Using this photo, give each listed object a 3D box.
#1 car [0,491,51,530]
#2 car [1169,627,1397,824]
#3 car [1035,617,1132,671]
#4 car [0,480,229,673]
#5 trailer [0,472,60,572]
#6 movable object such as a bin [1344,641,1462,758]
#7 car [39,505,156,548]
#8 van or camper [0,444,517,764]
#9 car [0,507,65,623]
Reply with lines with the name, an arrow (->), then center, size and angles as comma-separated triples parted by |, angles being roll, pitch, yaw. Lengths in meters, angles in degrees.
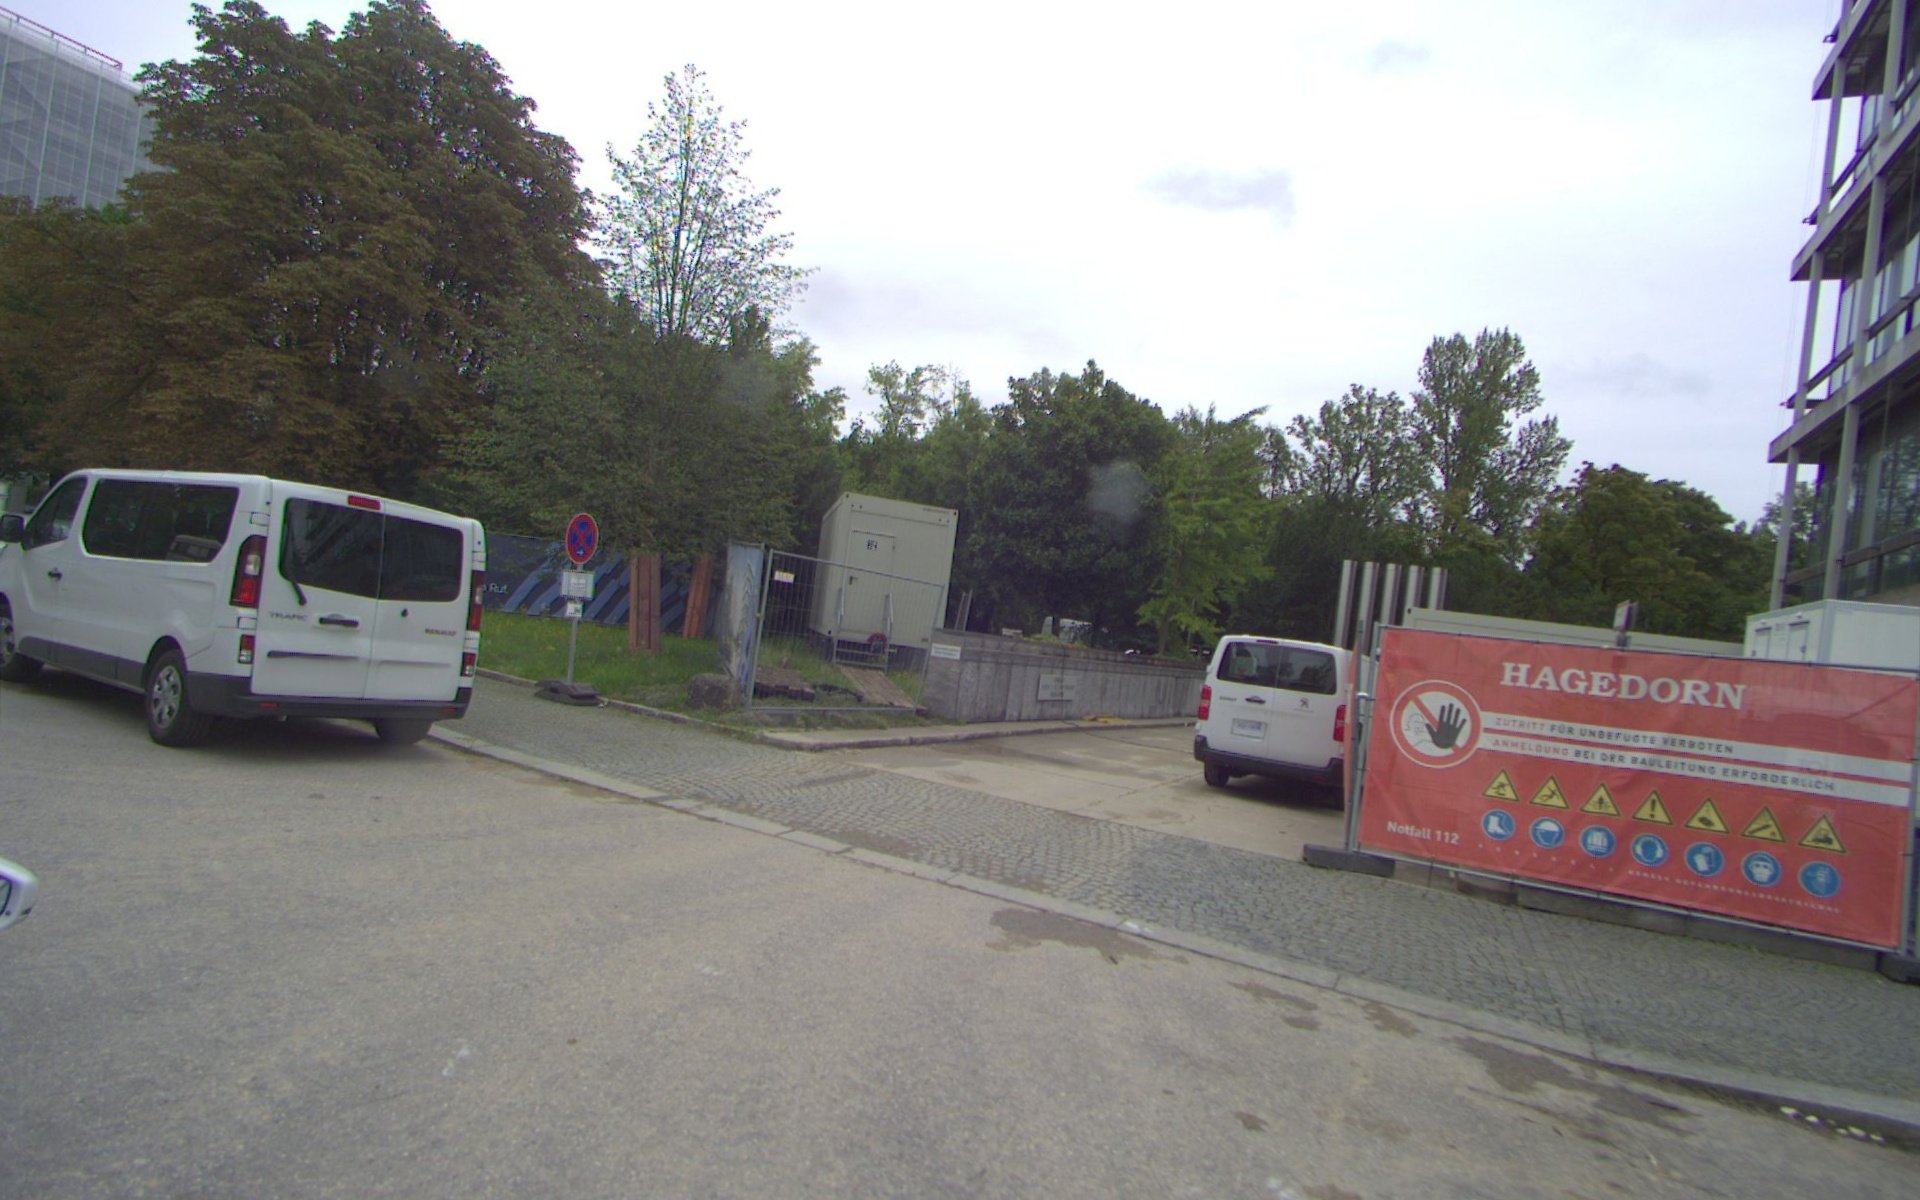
car -> -42.082, -4.018, 43.478 | 1.806, 1.478, 4.006 | 7, 0, 1
car -> 4.563, 1.633, 13.630 | 1.965, 1.943, 4.775 | 7, -2, 28
car -> 7.672, 2.722, 62.566 | 5.360, 2.611, 2.076 | 7, -1, 25
car -> -10.635, -0.364, 11.629 | 4.378, 1.747, 1.997 | 6, -3, 34
trailer -> -21.905, -1.829, 22.585 | 1.799, 2.037, 4.789 | 8, -2, -35
movable object such as a bin -> 14.522, 3.227, 32.783 | 2.755, 3.137, 5.074 | 7, -2, 29
car -> -41.661, -3.506, 48.734 | 1.768, 1.399, 4.222 | 7, -2, 3
van or camper -> -6.456, -0.103, 8.744 | 5.289, 2.037, 1.997 | 6, -2, 32
car -> -14.799, -0.688, 14.776 | 4.160, 1.503, 1.766 | 6, -2, 40
